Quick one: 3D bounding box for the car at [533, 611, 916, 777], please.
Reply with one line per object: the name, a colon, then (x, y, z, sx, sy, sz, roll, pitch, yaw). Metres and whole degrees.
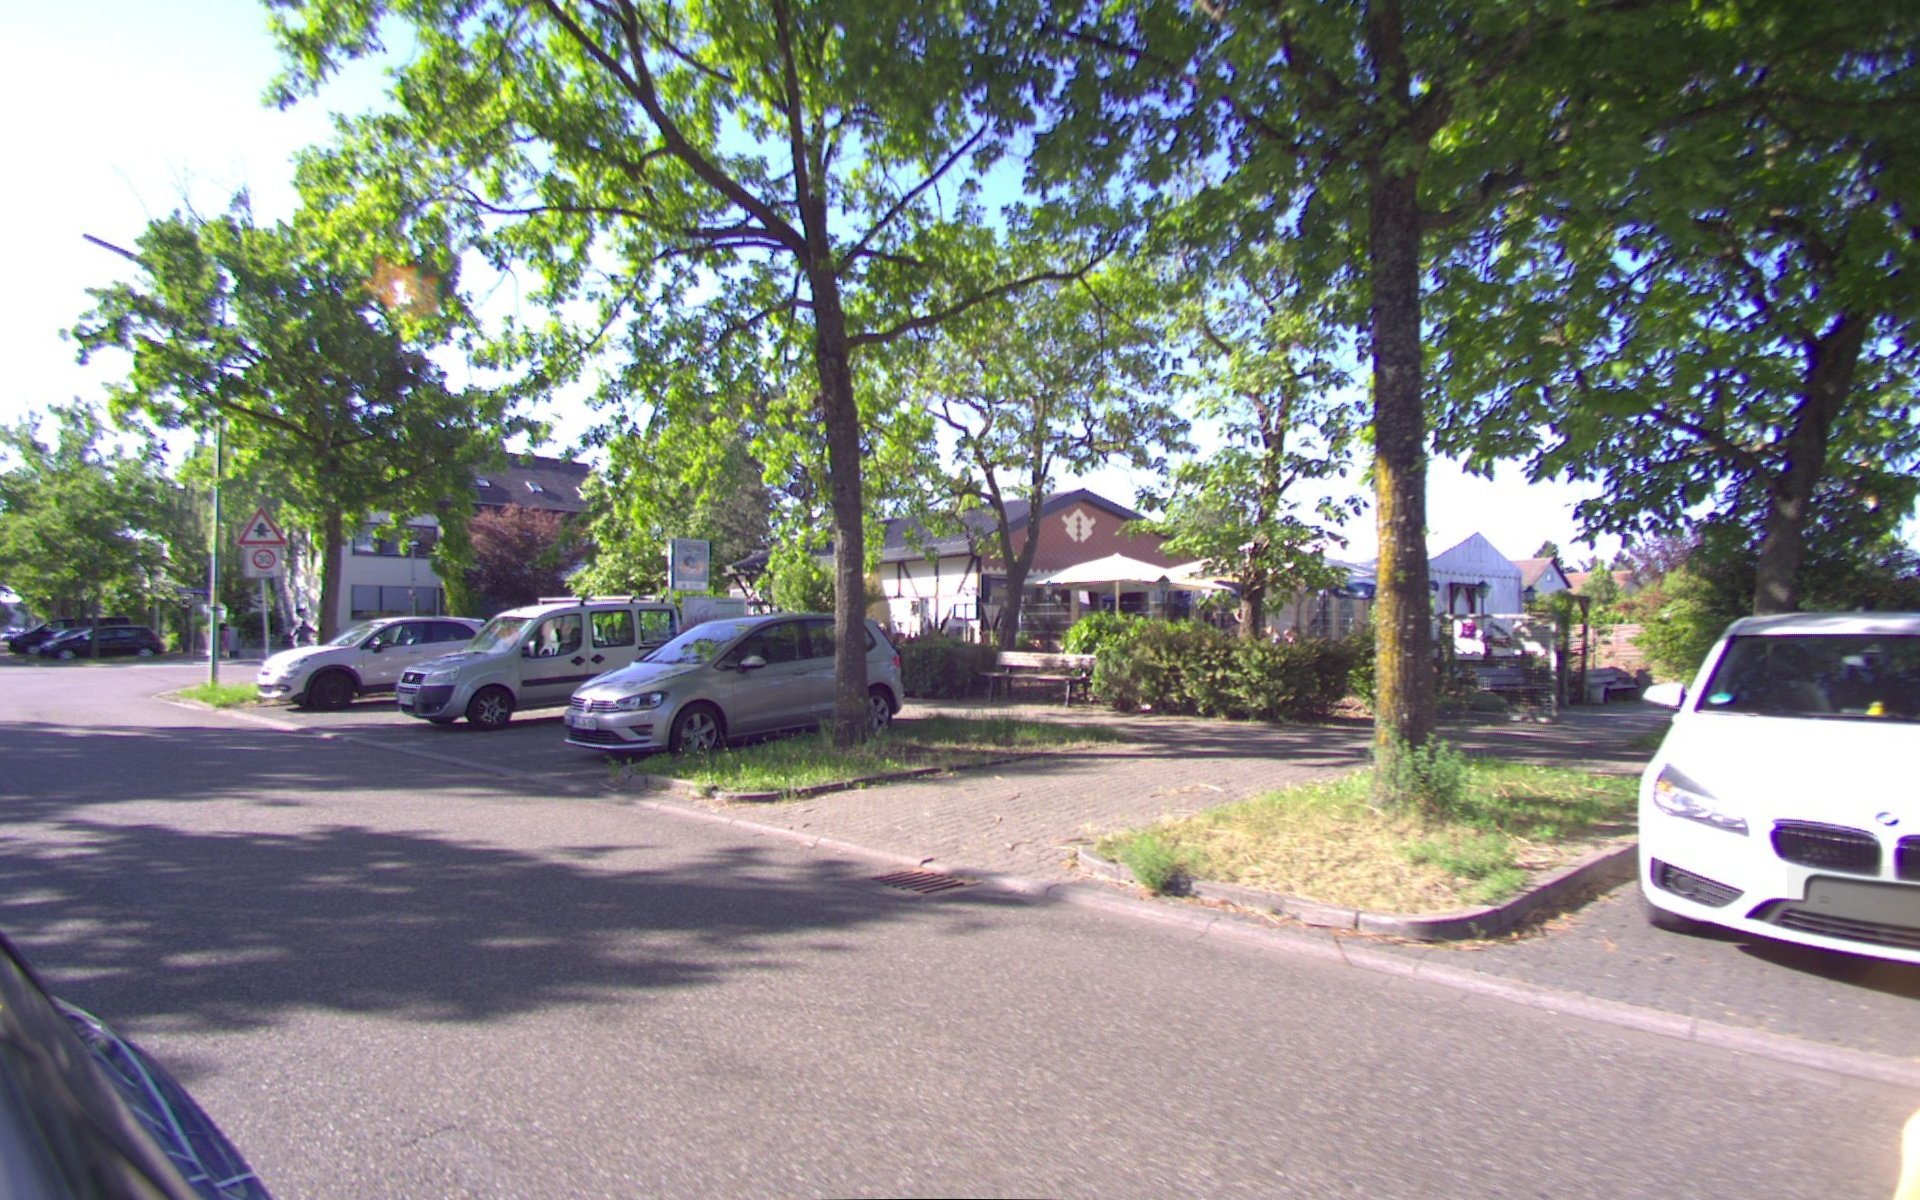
car: (-2.617, 0.945, 11.976, 1.865, 1.568, 4.092, -2, -1, 42)

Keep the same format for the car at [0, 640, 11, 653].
car: (-136.342, 6.565, 143.866, 1.912, 1.791, 4.043, 2, -3, -43)

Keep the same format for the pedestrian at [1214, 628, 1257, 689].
pedestrian: (6.304, 1.330, 23.183, 0.859, 1.371, 0.664, 0, -2, 7)

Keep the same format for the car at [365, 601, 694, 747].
car: (-6.426, 0.983, 15.462, 1.997, 1.898, 4.185, -2, -1, 40)

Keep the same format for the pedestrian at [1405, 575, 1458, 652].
pedestrian: (8.988, 0.263, 19.295, 0.635, 1.425, 0.667, 1, -2, -32)

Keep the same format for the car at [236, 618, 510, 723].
car: (-10.733, 1.200, 18.701, 1.876, 1.655, 4.019, -2, -1, 42)

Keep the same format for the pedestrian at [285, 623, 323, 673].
pedestrian: (-20.721, 1.507, 31.964, 0.866, 1.554, 0.719, 1, -1, 38)

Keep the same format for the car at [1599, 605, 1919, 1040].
car: (5.009, 0.826, 5.318, 2.087, 1.568, 4.366, -2, -1, 42)

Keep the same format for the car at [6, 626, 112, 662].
car: (-46.138, 2.244, 51.860, 3.978, 1.791, 1.943, 2, -3, -44)

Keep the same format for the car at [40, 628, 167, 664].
car: (-37.527, 2.007, 44.410, 1.941, 1.490, 3.983, -2, -3, 42)

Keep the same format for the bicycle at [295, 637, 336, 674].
bicycle: (-20.492, 1.755, 32.179, 1.892, 1.096, 0.632, 1, -1, 44)

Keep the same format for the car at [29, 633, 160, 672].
car: (-35.557, 2.136, 41.642, 3.978, 1.490, 1.943, 2, -3, -44)

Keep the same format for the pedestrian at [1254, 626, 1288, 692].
pedestrian: (6.925, 1.297, 22.550, 0.661, 1.425, 0.863, -1, -2, 21)

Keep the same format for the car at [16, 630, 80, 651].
car: (-78.022, 3.475, 86.609, 3.978, 1.791, 1.943, 2, -3, -44)

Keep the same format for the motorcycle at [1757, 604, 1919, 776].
motorcycle: (8.362, 0.771, 8.964, 1.990, 1.443, 0.730, -2, 1, 41)
